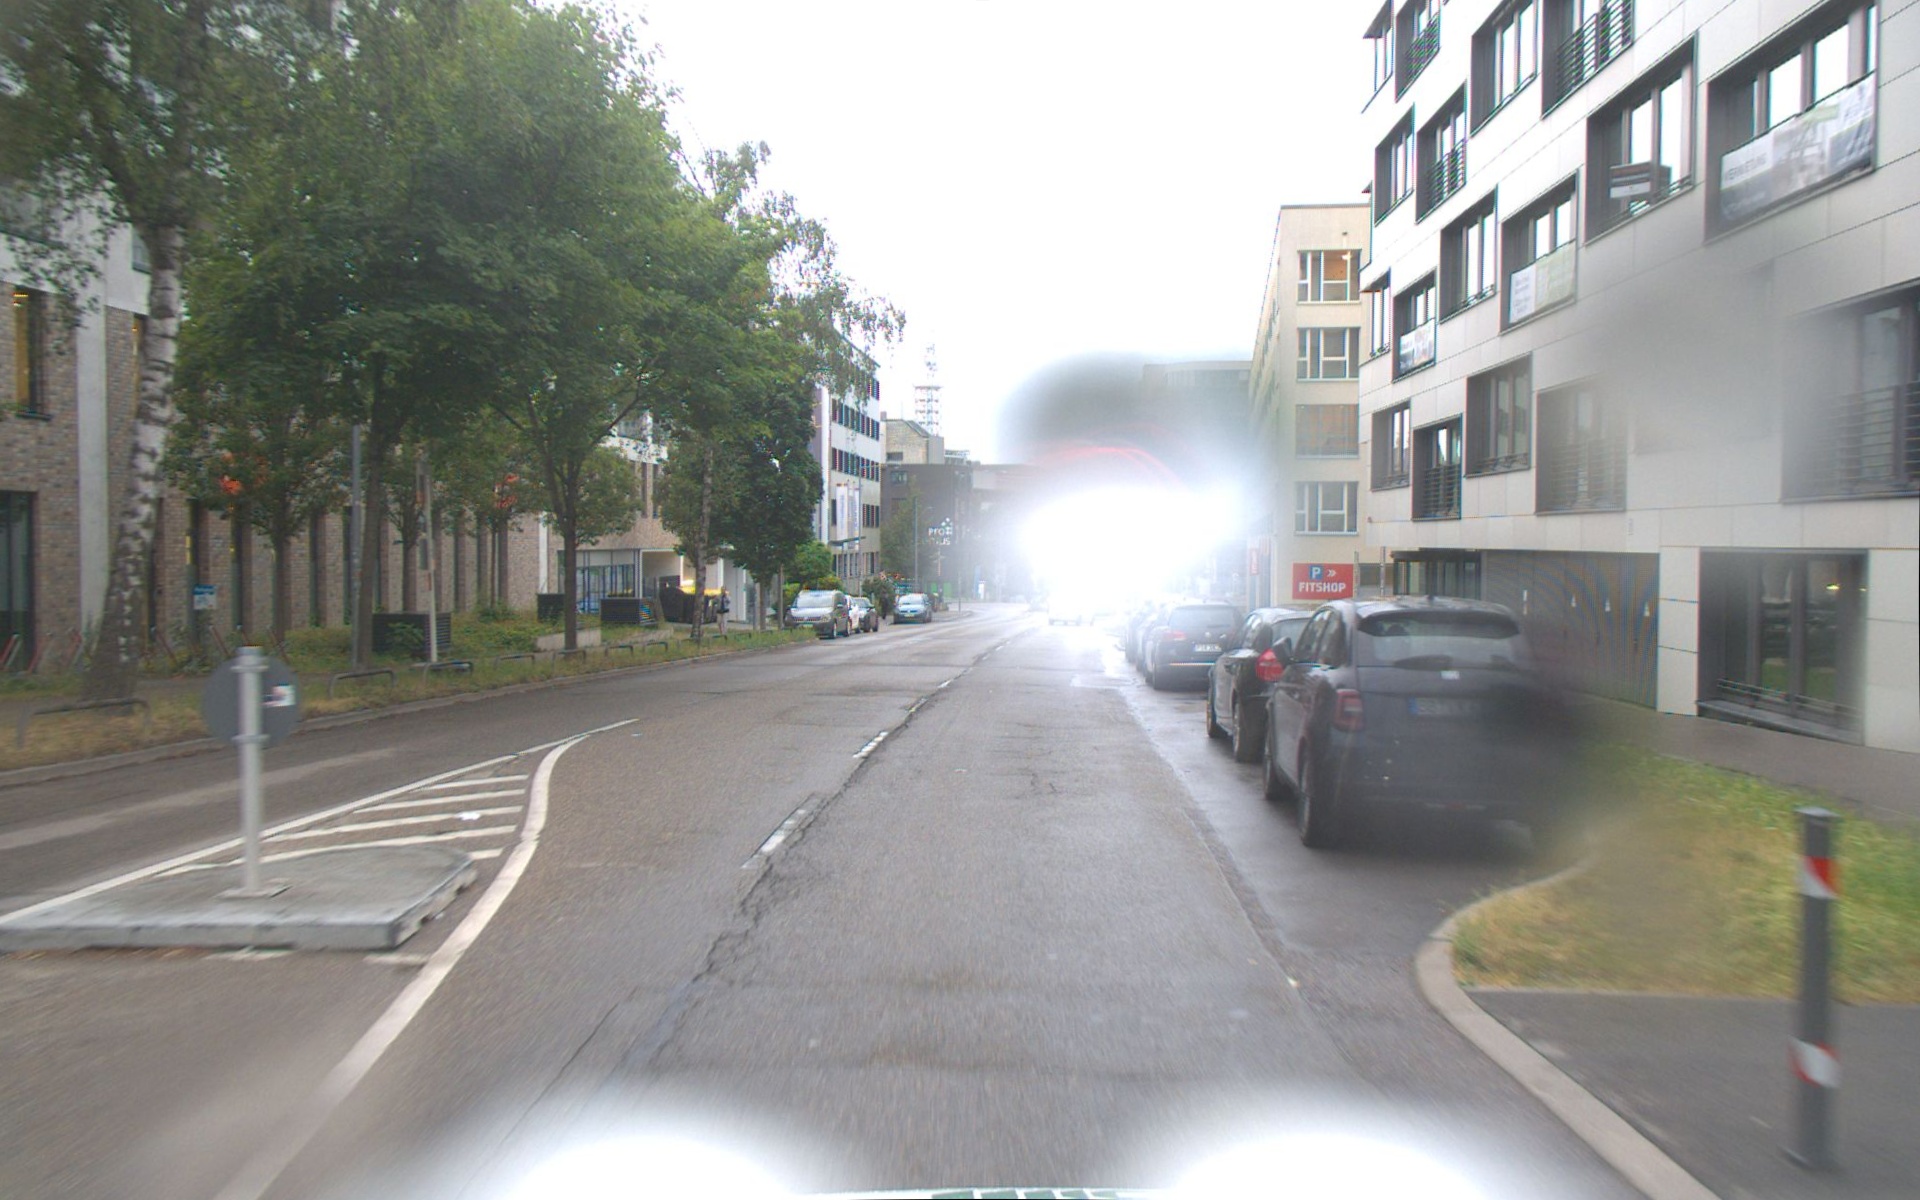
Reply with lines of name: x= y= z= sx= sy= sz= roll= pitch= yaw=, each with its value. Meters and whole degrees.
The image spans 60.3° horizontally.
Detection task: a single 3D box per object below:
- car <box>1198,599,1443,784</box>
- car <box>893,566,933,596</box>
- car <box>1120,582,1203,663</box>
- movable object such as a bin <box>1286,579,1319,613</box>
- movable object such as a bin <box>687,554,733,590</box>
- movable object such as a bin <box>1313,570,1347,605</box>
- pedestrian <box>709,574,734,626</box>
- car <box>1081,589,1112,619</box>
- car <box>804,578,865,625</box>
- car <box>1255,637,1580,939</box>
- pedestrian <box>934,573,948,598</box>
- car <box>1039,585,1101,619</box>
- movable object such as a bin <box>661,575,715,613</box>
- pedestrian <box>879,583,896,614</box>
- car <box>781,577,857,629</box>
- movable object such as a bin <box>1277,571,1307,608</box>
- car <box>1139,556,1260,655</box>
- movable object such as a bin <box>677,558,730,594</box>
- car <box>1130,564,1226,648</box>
car: x=3.485 y=0.798 z=16.778 sx=1.769 sy=1.510 sz=4.498 roll=1 pitch=1 yaw=4
car: x=-2.458 y=-1.032 z=87.652 sx=1.874 sy=1.506 sz=4.358 roll=1 pitch=1 yaw=2
car: x=4.967 y=0.498 z=41.227 sx=1.770 sy=1.708 sz=4.716 roll=1 pitch=2 yaw=4
movable object such as a bin: x=14.073 y=-0.171 z=68.039 sx=1.209 sy=1.343 sz=1.192 roll=0 pitch=1 yaw=6
movable object such as a bin: x=-10.892 y=-1.212 z=72.162 sx=1.758 sy=1.536 sz=1.482 roll=-1 pitch=1 yaw=1
movable object such as a bin: x=15.408 y=-0.533 z=68.838 sx=1.234 sy=1.427 sz=1.113 roll=1 pitch=1 yaw=6
pedestrian: x=-8.066 y=-0.003 z=55.968 sx=0.694 sy=1.712 sz=0.957 roll=1 pitch=2 yaw=0
car: x=8.887 y=0.220 z=107.587 sx=1.951 sy=1.780 sz=3.675 roll=1 pitch=2 yaw=4
car: x=-4.785 y=0.035 z=63.414 sx=1.736 sy=1.628 sz=4.034 roll=1 pitch=2 yaw=4
car: x=2.995 y=1.136 z=11.510 sx=1.513 sy=1.504 sz=3.663 roll=1 pitch=2 yaw=5
pedestrian: x=-1.515 y=-1.173 z=131.725 sx=0.941 sy=1.989 sz=0.777 roll=1 pitch=1 yaw=-8
car: x=5.744 y=0.098 z=85.771 sx=1.954 sy=1.604 sz=3.995 roll=2 pitch=2 yaw=24
movable object such as a bin: x=-11.383 y=-0.261 z=69.278 sx=1.985 sy=1.454 sz=1.290 roll=3 pitch=1 yaw=1
pedestrian: x=-4.117 y=-0.098 z=93.866 sx=0.718 sy=1.738 sz=0.897 roll=0 pitch=0 yaw=-23
car: x=-4.909 y=0.067 z=58.129 sx=2.034 sy=1.637 sz=4.688 roll=0 pitch=2 yaw=3
movable object such as a bin: x=14.079 y=-0.463 z=70.182 sx=1.149 sy=1.529 sz=1.014 roll=1 pitch=1 yaw=7
car: x=4.214 y=0.051 z=29.746 sx=1.769 sy=1.590 sz=4.849 roll=1 pitch=1 yaw=4
movable object such as a bin: x=-10.948 y=-1.026 z=70.676 sx=2.011 sy=1.447 sz=1.317 roll=2 pitch=1 yaw=1
car: x=4.558 y=0.080 z=35.012 sx=1.712 sy=1.633 sz=4.376 roll=1 pitch=1 yaw=4
